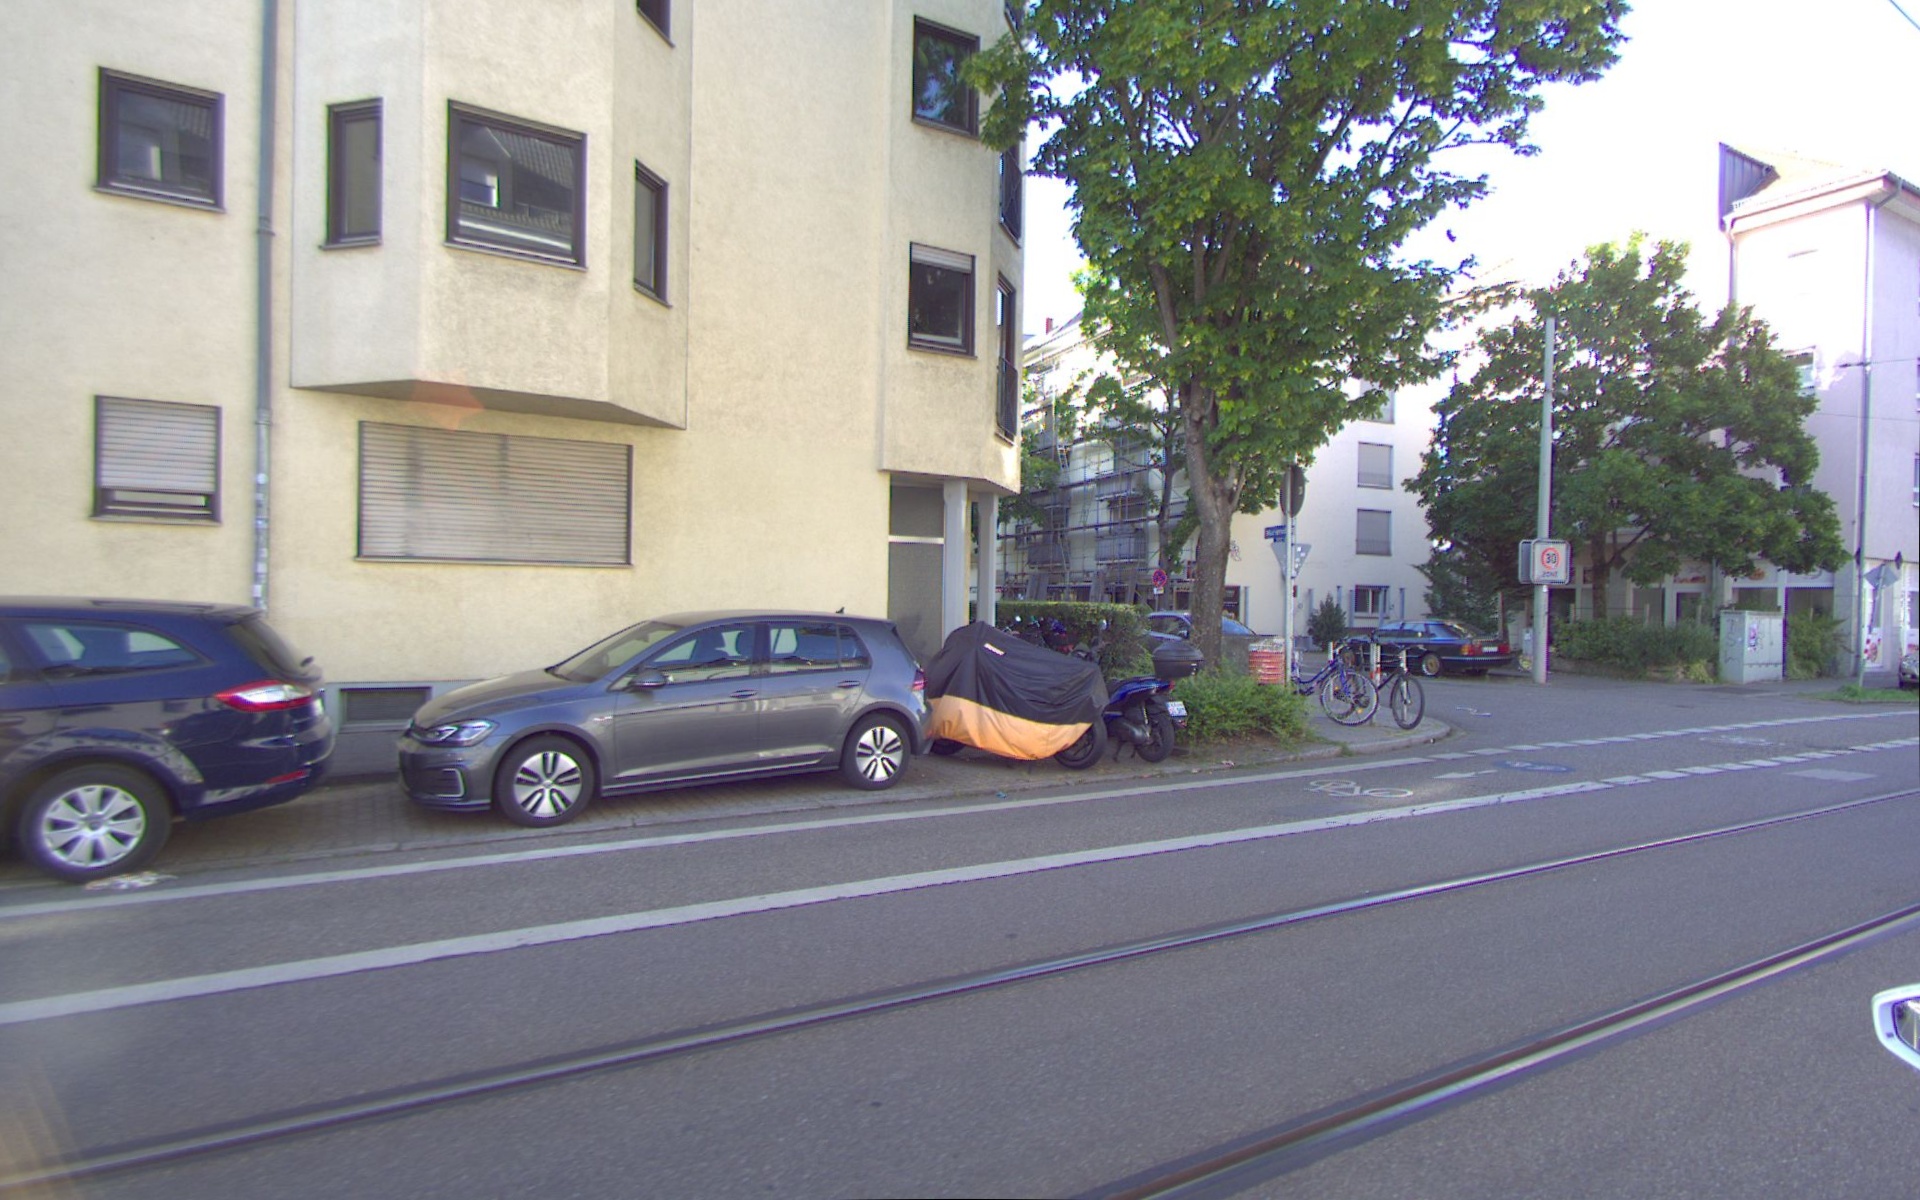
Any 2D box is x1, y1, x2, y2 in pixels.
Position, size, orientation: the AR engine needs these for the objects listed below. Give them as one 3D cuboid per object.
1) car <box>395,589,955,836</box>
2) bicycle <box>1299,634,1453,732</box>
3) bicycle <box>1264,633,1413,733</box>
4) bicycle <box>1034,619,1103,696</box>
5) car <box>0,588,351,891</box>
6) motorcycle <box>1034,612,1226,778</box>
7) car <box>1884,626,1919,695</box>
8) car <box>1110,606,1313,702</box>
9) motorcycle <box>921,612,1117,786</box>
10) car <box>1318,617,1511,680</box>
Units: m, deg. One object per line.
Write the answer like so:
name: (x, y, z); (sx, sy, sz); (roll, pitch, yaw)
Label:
car: (-2.226, 0.749, 8.206); (4.084, 1.563, 1.725); (1, 0, -33)
bicycle: (5.249, 1.011, 12.802); (0.588, 1.099, 1.869); (1, 0, -28)
bicycle: (4.682, 0.992, 12.544); (0.588, 1.099, 1.798); (1, 0, -28)
bicycle: (1.776, 0.927, 16.598); (0.328, 1.159, 1.381); (1, 2, -32)
car: (-6.154, 0.701, 5.532); (4.676, 1.563, 1.757); (1, 0, -29)
motorcycle: (1.660, 0.883, 10.146); (0.714, 1.466, 1.954); (1, 0, -36)
car: (22.981, 1.406, 22.873); (3.953, 1.462, 1.735); (1, 2, -31)
car: (4.990, 0.998, 20.448); (1.885, 1.682, 3.972); (-1, 0, -27)
motorcycle: (0.520, 0.876, 9.749); (0.828, 1.466, 1.954); (1, 0, -36)
car: (11.571, 1.200, 25.927); (1.690, 1.406, 4.542); (2, -1, -24)
